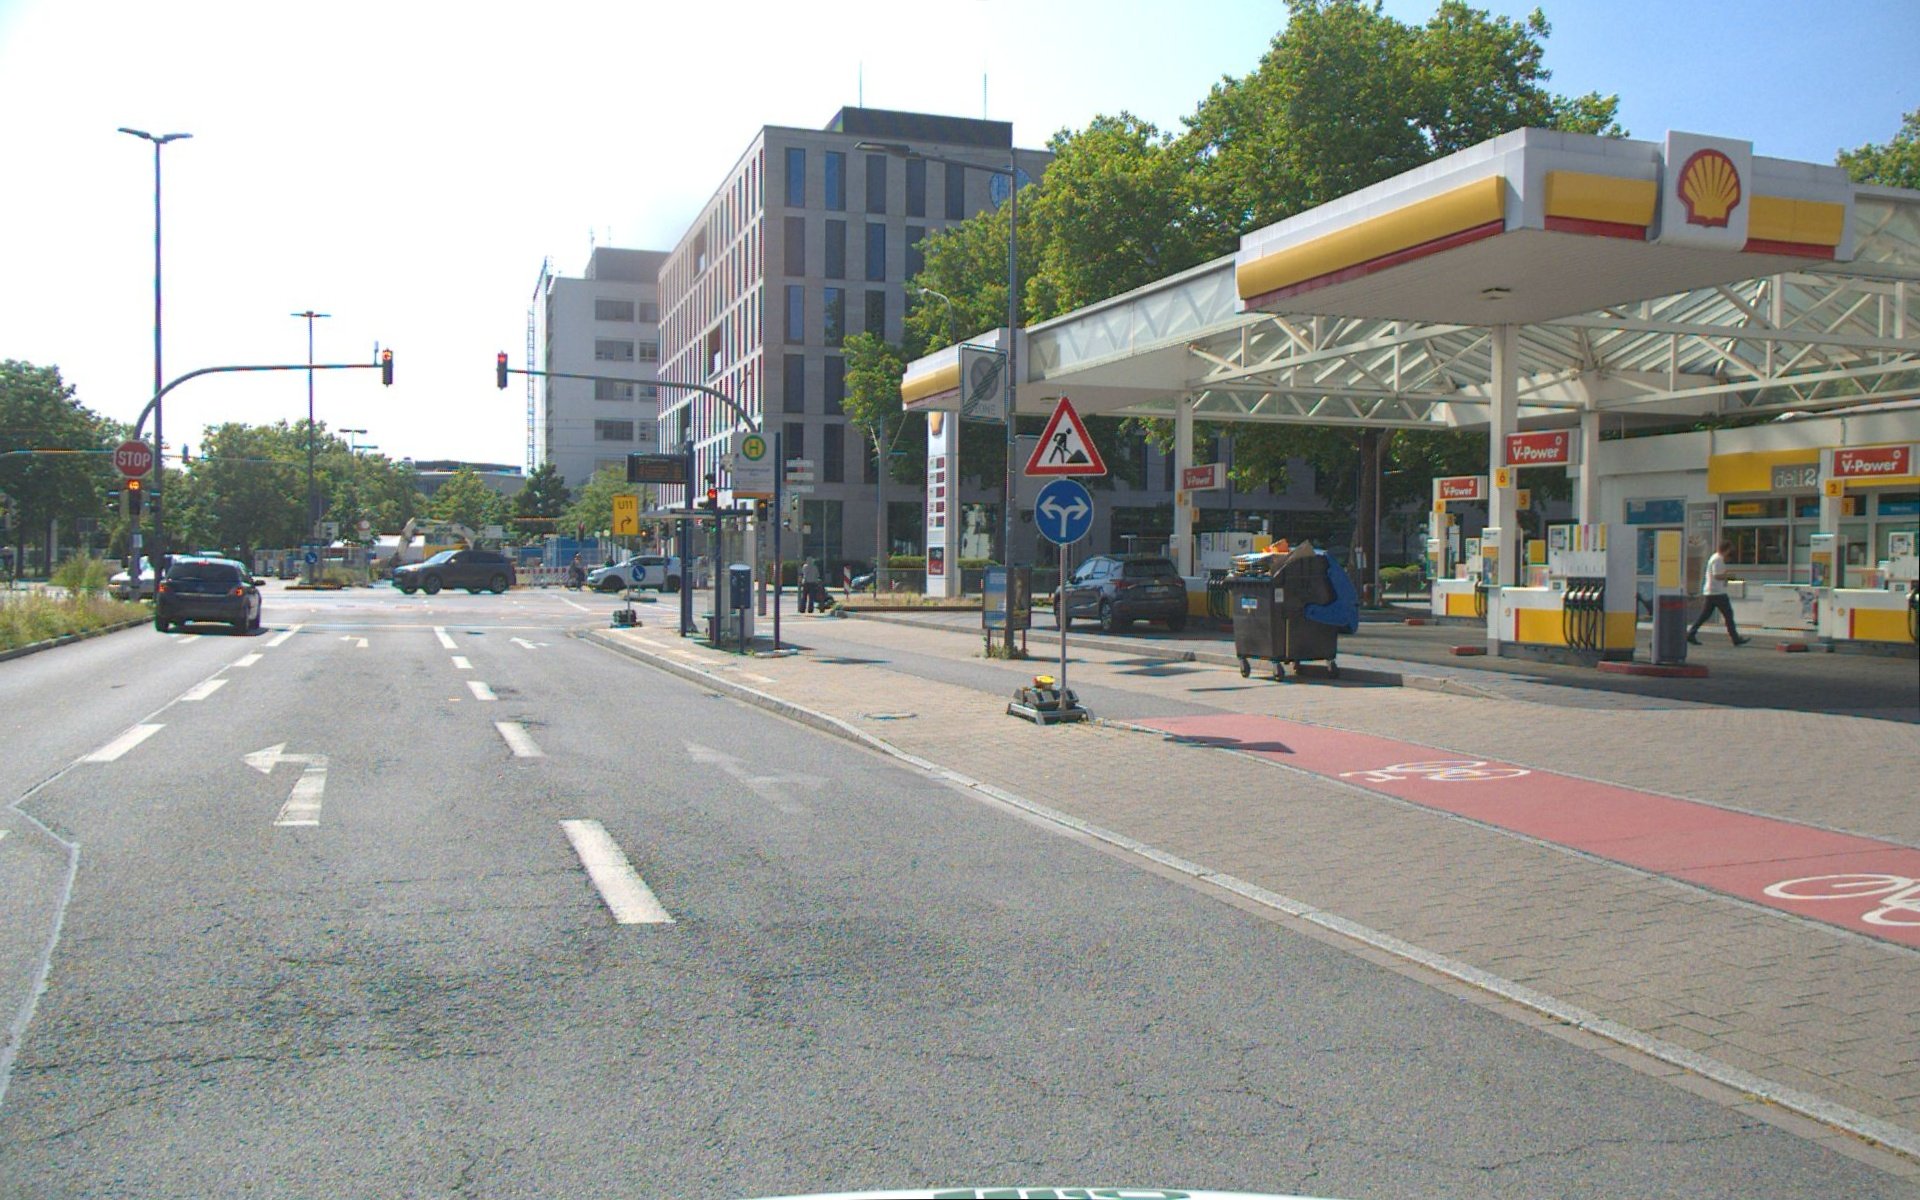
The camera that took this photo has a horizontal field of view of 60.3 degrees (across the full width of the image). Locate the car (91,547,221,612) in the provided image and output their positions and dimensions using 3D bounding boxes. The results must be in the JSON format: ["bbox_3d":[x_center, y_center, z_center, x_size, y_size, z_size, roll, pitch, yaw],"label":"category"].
[{"bbox_3d":[-21.588,-0.581,44.614,1.957,1.667,4.386,0,1,-9],"label":"car"}]

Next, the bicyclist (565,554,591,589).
[{"bbox_3d":[-19.064,-1.429,82.508,1.217,1.702,0.523,1,1,-11],"label":"bicyclist"}]

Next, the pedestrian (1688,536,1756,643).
[{"bbox_3d":[13.577,-0.188,29.469,0.738,1.869,0.846,0,1,-41],"label":"pedestrian"}]

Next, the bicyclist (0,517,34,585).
[{"bbox_3d":[-42.565,-2.184,73.984,1.575,2.982,2.340,0,1,-19],"label":"bicyclist"}]

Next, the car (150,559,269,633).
[{"bbox_3d":[-15.405,-0.121,34.119,1.965,1.422,3.975,0,1,-21],"label":"car"}]

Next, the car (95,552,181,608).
[{"bbox_3d":[-25.145,-0.636,50.717,1.862,1.638,4.492,0,1,-20],"label":"car"}]

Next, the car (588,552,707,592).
[{"bbox_3d":[-13.561,-1.199,71.763,4.784,1.665,1.988,0,1,-21],"label":"car"}]

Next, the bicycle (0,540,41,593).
[{"bbox_3d":[-42.839,-1.515,74.772,1.575,2.308,3.978,0,1,-19],"label":"bicycle"}]

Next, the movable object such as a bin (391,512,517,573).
[{"bbox_3d":[-40.679,-4.594,133.231,9.524,4.629,3.149,0,1,-18],"label":"movable object such as a bin"}]

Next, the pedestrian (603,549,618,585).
[{"bbox_3d":[-17.695,-1.694,83.810,0.523,1.802,0.712,0,1,-32],"label":"pedestrian"}]

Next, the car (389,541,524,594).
[{"bbox_3d":[-20.086,-1.280,66.077,4.832,2.048,1.968,0,1,-44],"label":"car"}]

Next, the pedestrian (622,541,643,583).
[{"bbox_3d":[-16.271,-1.872,82.195,0.761,2.048,0.778,1,1,9],"label":"pedestrian"}]

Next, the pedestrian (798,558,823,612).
[{"bbox_3d":[-4.322,-0.438,47.822,0.609,1.570,0.459,0,1,-20],"label":"pedestrian"}]

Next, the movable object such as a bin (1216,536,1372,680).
[{"bbox_3d":[4.024,0.067,20.004,1.289,1.619,1.387,-3,2,-22],"label":"movable object such as a bin"}]

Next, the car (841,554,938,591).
[{"bbox_3d":[-3.228,-1.275,75.786,4.049,1.667,1.989,0,1,-20],"label":"car"}]

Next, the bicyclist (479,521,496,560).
[{"bbox_3d":[-32.568,-4.102,114.028,1.051,2.619,0.825,1,0,-13],"label":"bicyclist"}]

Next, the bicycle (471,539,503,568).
[{"bbox_3d":[-32.596,-3.208,114.033,2.052,1.996,0.825,1,0,-14],"label":"bicycle"}]

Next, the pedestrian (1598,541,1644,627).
[{"bbox_3d":[14.368,-0.347,35.942,0.661,1.853,0.629,0,1,-13],"label":"pedestrian"}]

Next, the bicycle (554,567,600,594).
[{"bbox_3d":[-19.085,-0.965,82.513,2.189,1.307,0.523,1,1,-11],"label":"bicycle"}]

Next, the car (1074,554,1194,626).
[{"bbox_3d":[3.563,-0.227,34.449,1.619,1.422,3.635,0,1,-8],"label":"car"}]
